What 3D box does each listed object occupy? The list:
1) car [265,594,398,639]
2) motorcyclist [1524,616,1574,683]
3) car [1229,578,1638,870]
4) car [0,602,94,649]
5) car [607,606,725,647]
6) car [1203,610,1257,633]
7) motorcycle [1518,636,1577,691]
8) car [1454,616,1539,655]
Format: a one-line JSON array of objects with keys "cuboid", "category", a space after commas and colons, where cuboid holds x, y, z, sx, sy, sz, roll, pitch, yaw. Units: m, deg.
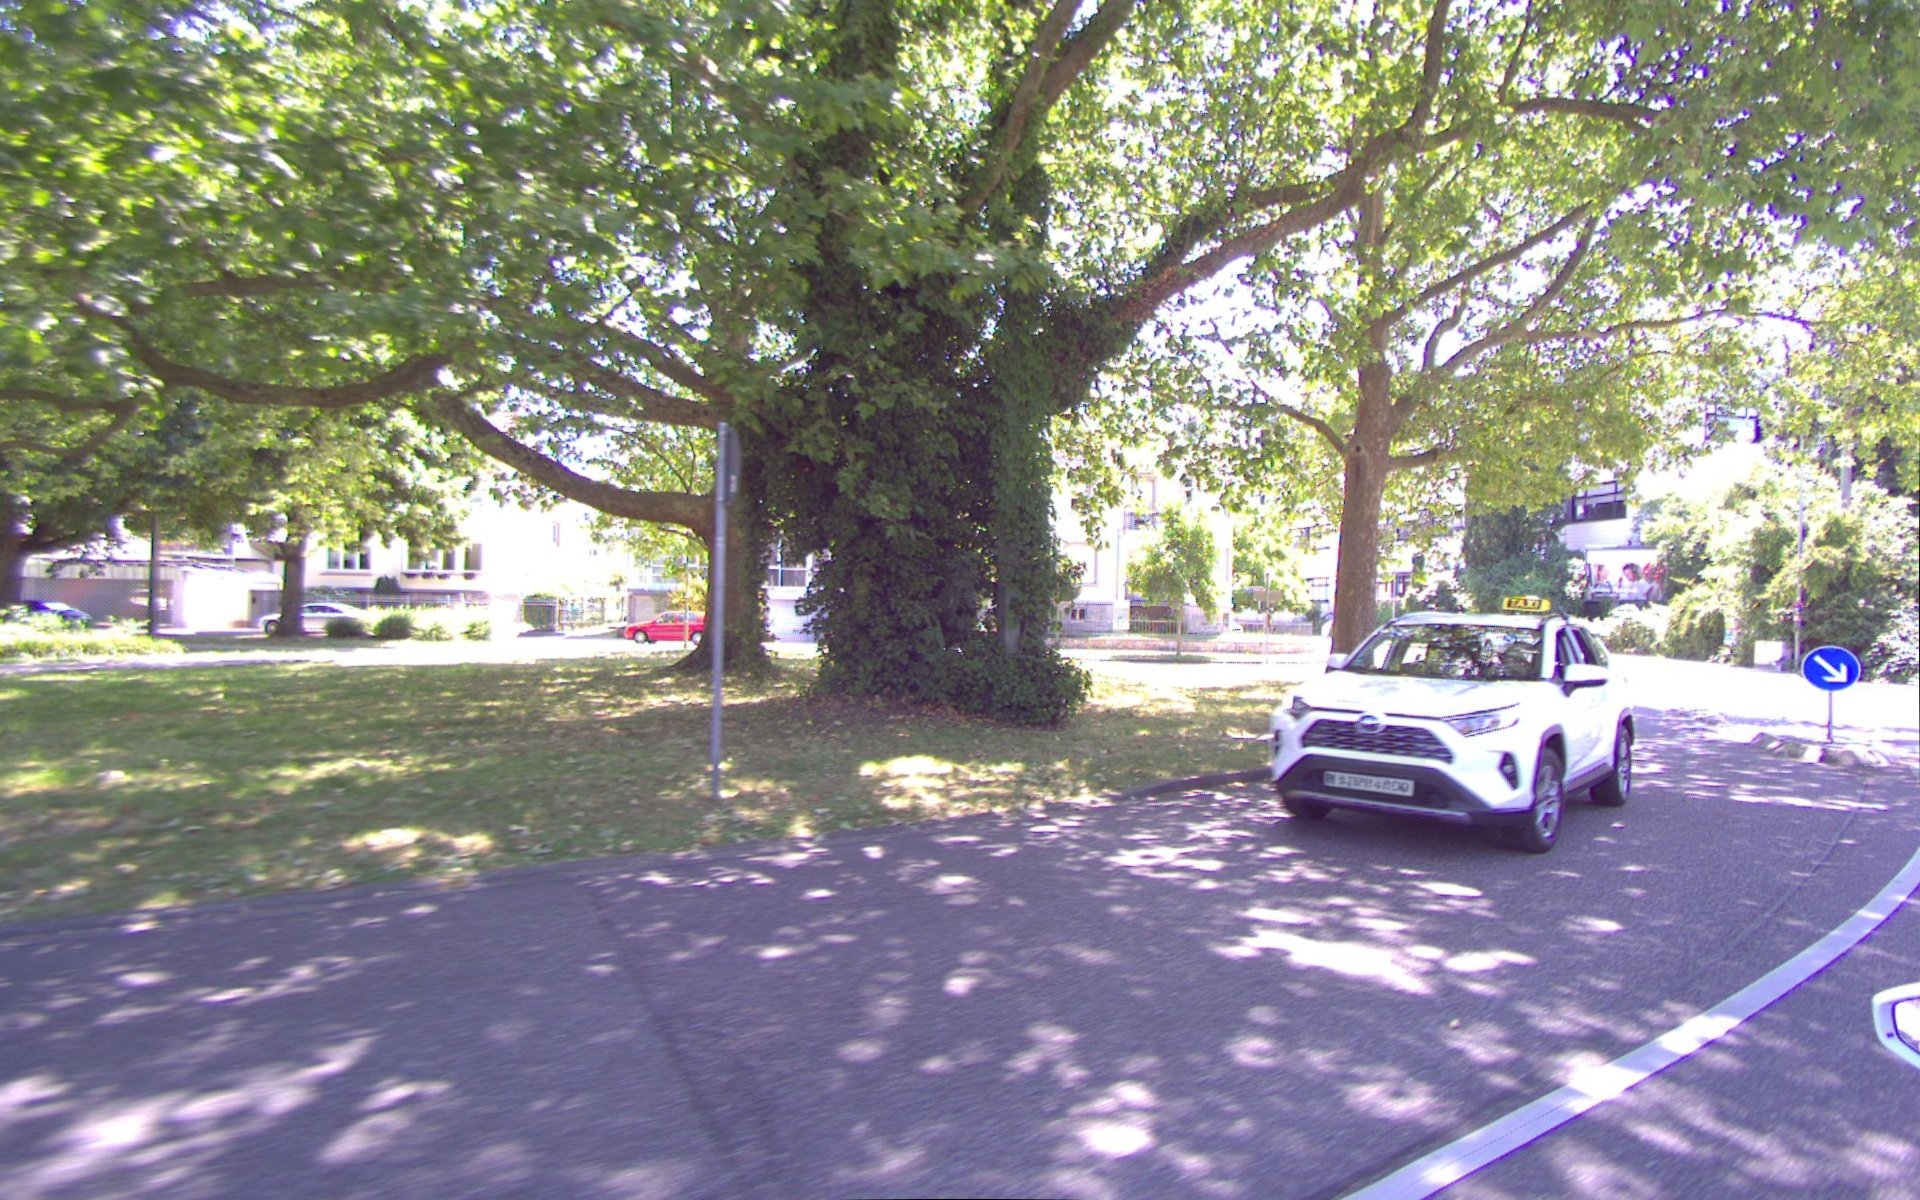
[{"cuboid": [-27.067, 0.693, 43.349, 4.419, 1.802, 1.999, 1, 0, -2], "category": "car"}, {"cuboid": [14.328, 1.185, 24.476, 0.794, 1.576, 1.105, 1, 0, 17], "category": "motorcyclist"}, {"cuboid": [4.158, 0.820, 8.411, 2.019, 1.770, 4.302, -2, -2, 41], "category": "car"}, {"cuboid": [-37.610, 0.988, 39.902, 4.426, 1.802, 1.996, 1, 0, -11], "category": "car"}, {"cuboid": [-12.496, 1.103, 42.861, 4.418, 1.640, 2.000, 1, 0, -1], "category": "car"}, {"cuboid": [20.897, 1.644, 77.993, 1.851, 1.645, 4.281, -1, 0, -22], "category": "car"}, {"cuboid": [14.341, 1.519, 24.567, 0.794, 1.248, 2.051, 1, -1, 18], "category": "motorcycle"}, {"cuboid": [26.251, 1.715, 49.330, 1.903, 1.636, 4.473, 3, 0, 3], "category": "car"}]
